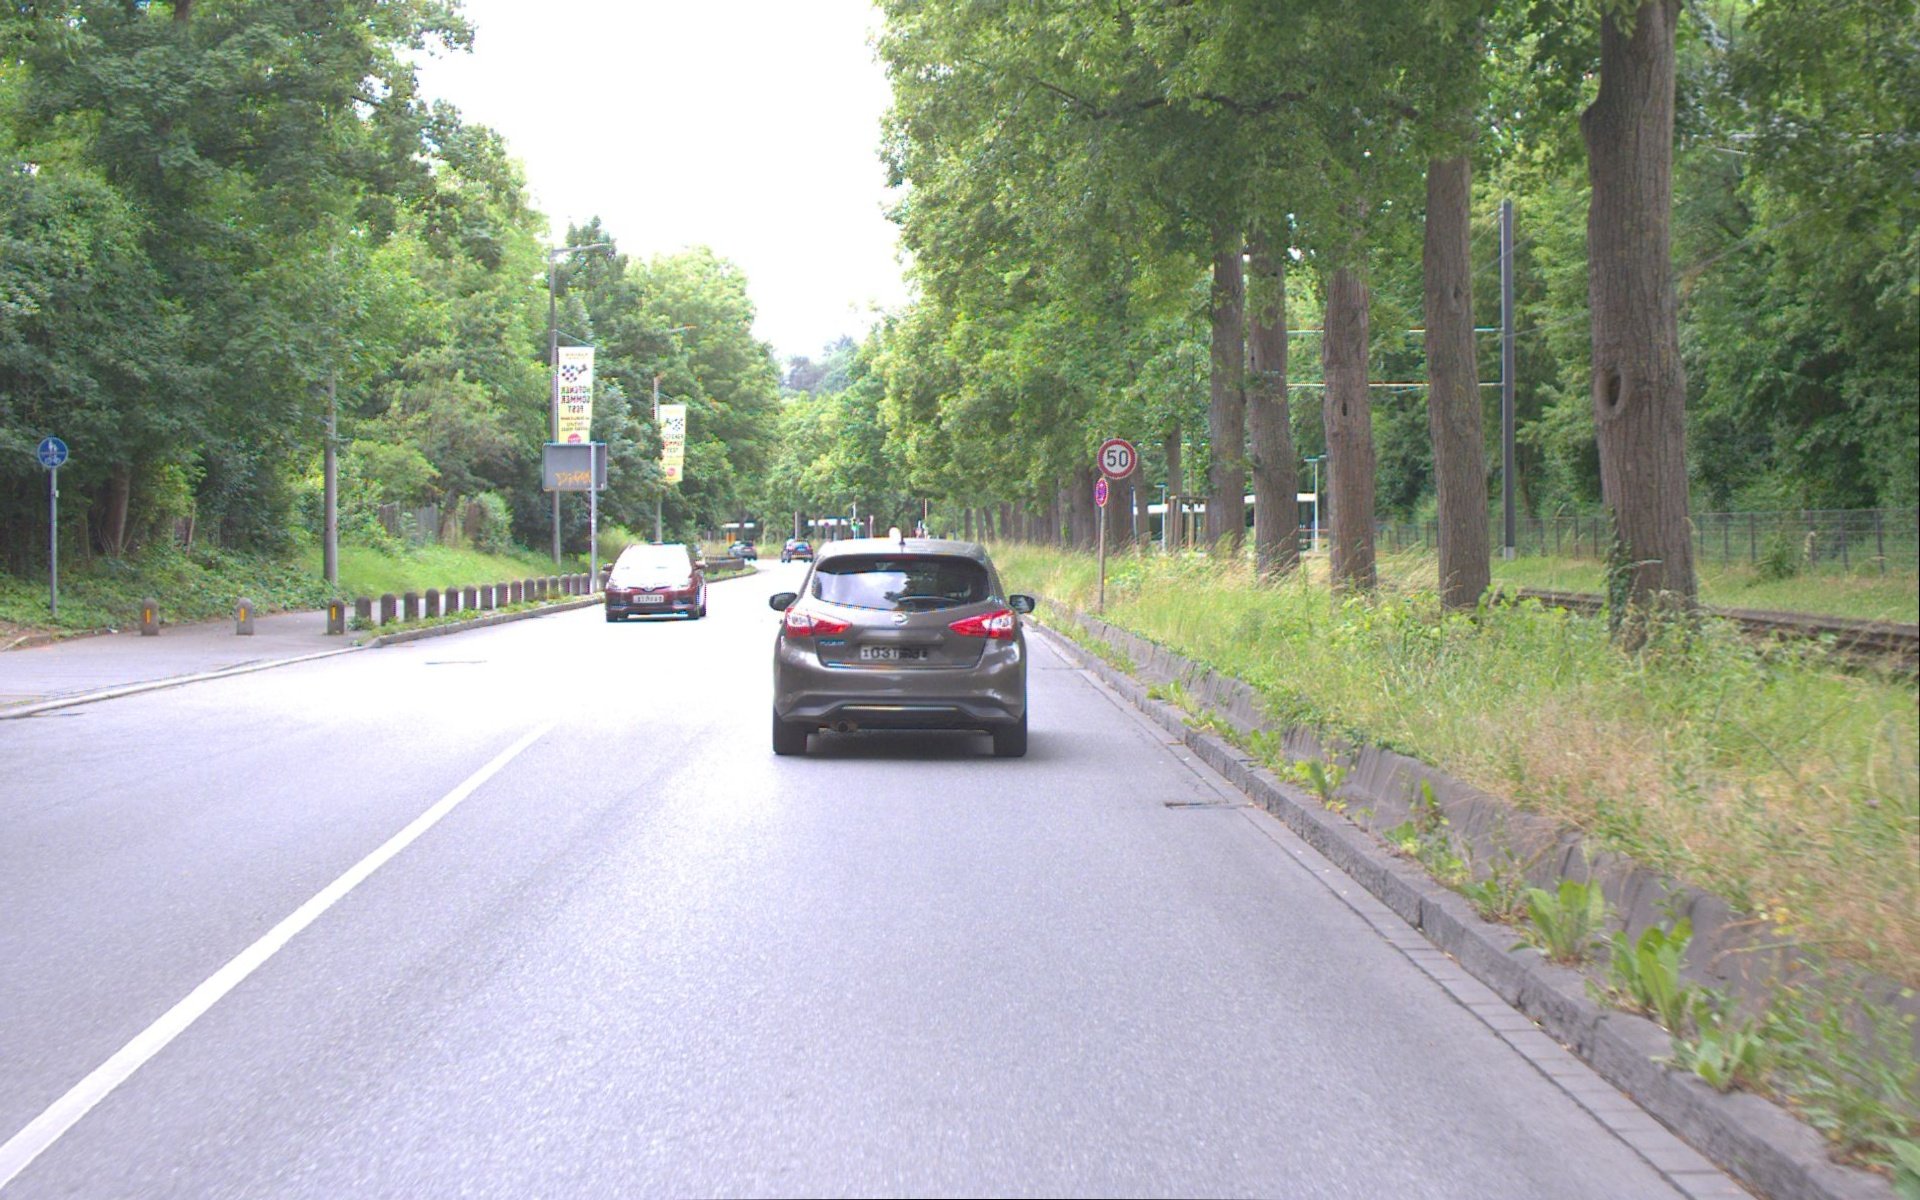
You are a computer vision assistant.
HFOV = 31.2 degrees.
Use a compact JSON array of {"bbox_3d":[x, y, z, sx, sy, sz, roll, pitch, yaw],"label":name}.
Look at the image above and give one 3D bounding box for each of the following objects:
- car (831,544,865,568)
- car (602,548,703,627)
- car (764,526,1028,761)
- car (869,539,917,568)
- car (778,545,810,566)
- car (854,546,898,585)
[{"bbox_3d":[-6.893,-2.728,211.229,1.561,1.436,3.553,1,1,-11],"label":"car"},{"bbox_3d":[-5.870,-0.266,65.922,1.716,1.423,4.197,-1,1,-3],"label":"car"},{"bbox_3d":[-0.469,0.262,24.761,1.730,1.532,3.552,1,1,-1],"label":"car"},{"bbox_3d":[-3.414,-2.373,174.894,1.561,1.436,3.553,1,1,-15],"label":"car"},{"bbox_3d":[-11.671,-3.128,241.736,1.561,1.436,3.553,1,1,-13],"label":"car"},{"bbox_3d":[-3.285,-1.349,133.888,1.561,1.436,3.552,1,1,-4],"label":"car"}]
